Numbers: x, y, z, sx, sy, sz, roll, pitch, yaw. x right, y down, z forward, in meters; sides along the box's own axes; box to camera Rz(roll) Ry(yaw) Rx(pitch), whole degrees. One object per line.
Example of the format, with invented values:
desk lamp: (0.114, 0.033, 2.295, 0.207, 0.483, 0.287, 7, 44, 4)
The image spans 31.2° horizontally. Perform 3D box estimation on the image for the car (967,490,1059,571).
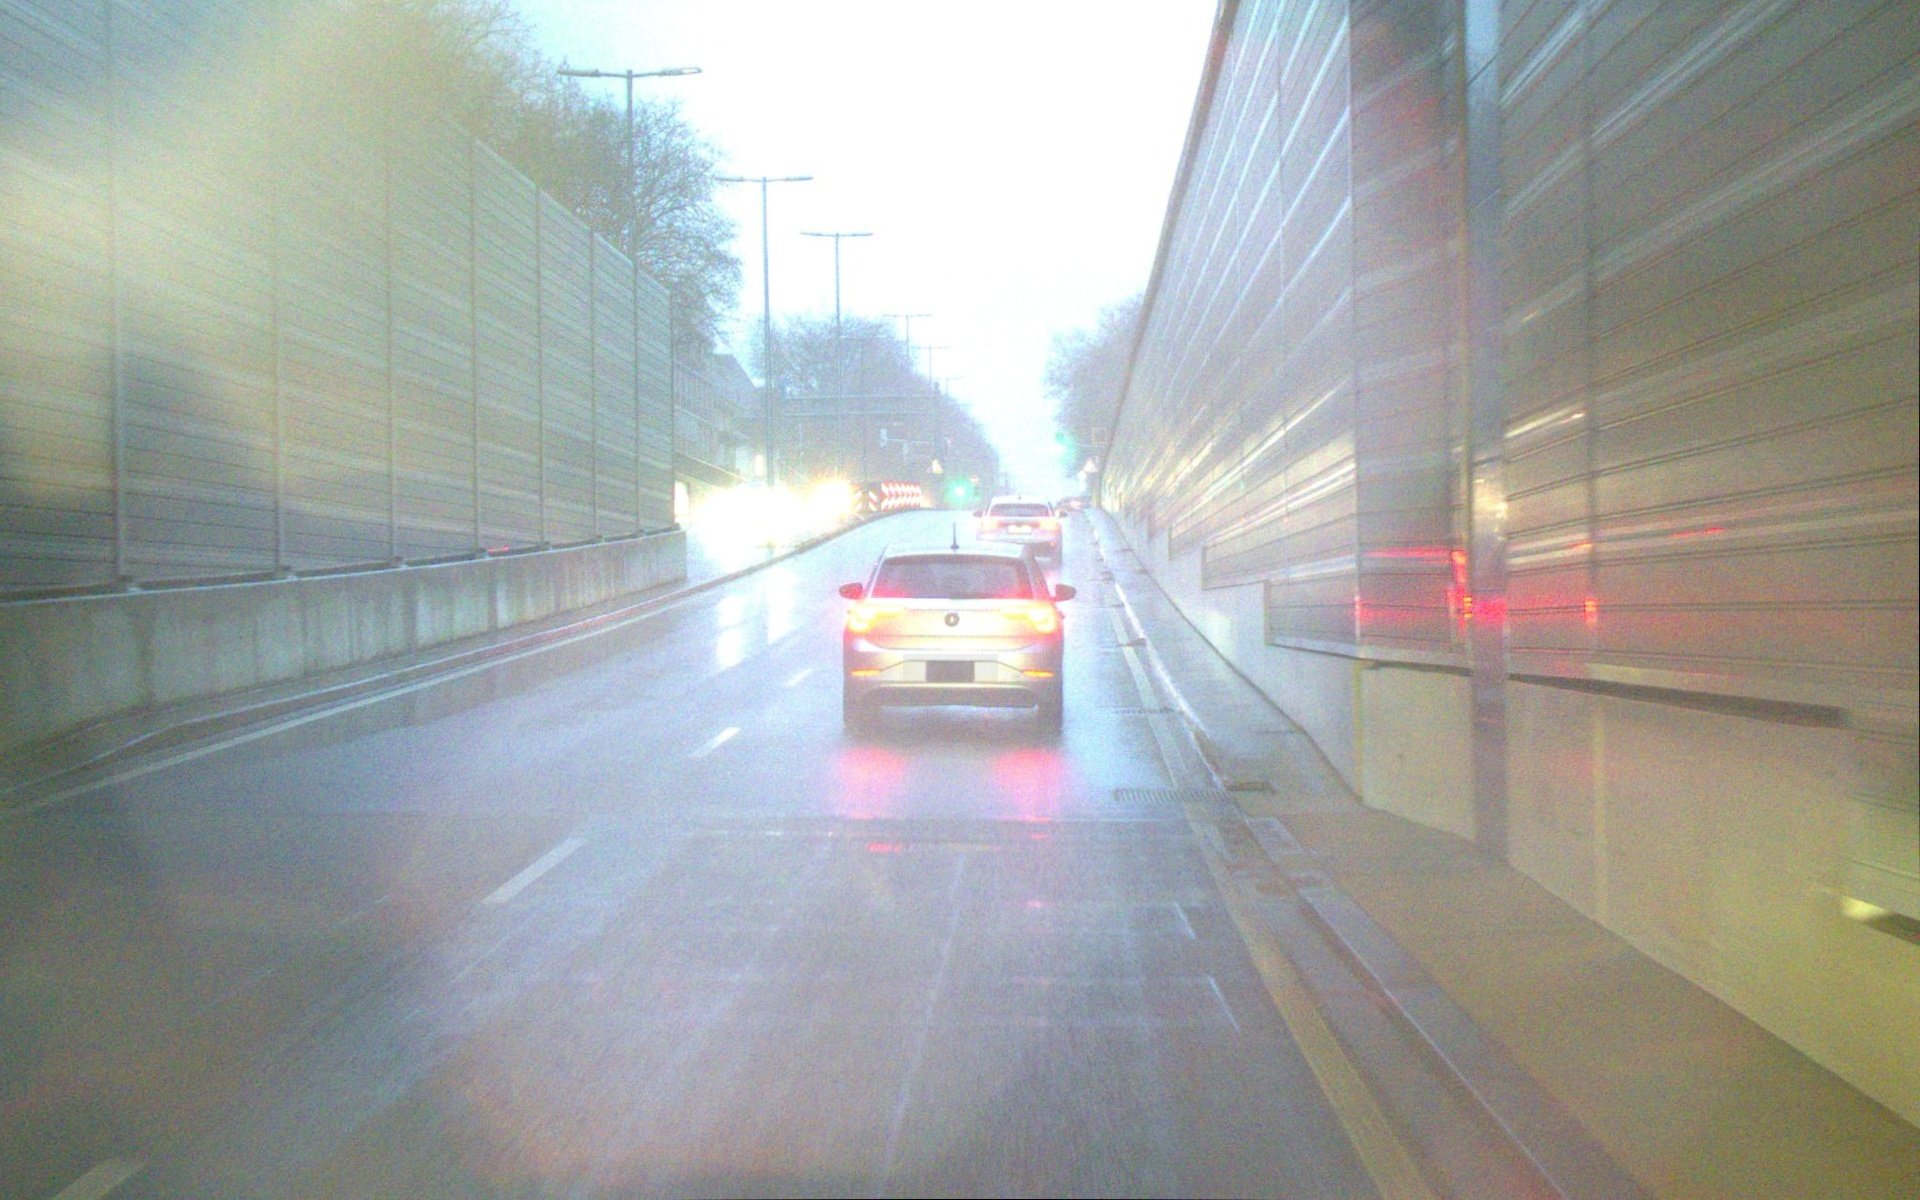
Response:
car: (1.131, -1.490, 74.657, 1.880, 1.615, 4.000, 1, -1, 0)

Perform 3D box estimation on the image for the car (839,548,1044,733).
car: (-0.097, 0.293, 27.851, 1.532, 1.392, 3.434, 1, 1, 2)

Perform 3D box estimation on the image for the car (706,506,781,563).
car: (-6.574, -1.978, 104.721, 1.880, 1.615, 4.000, 1, -1, 2)
